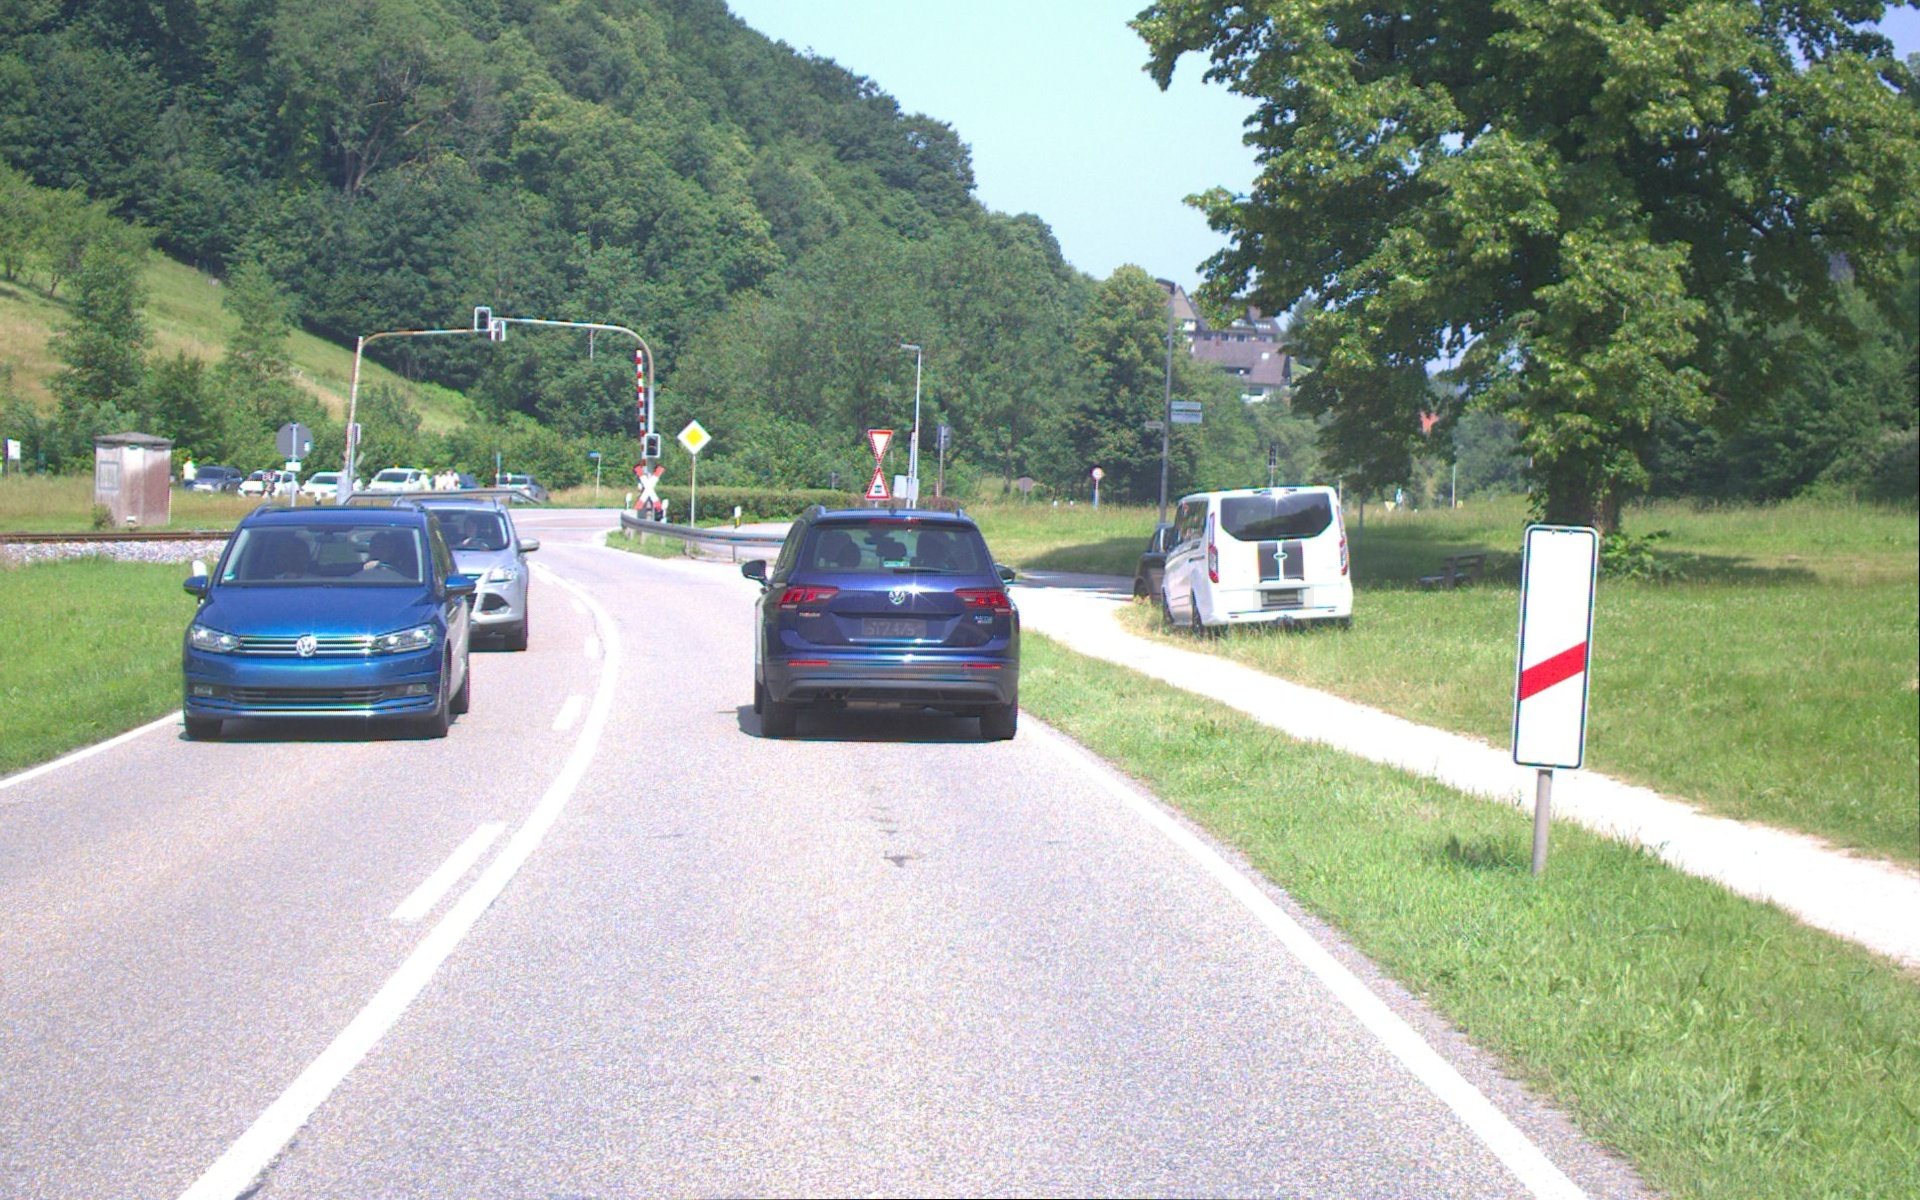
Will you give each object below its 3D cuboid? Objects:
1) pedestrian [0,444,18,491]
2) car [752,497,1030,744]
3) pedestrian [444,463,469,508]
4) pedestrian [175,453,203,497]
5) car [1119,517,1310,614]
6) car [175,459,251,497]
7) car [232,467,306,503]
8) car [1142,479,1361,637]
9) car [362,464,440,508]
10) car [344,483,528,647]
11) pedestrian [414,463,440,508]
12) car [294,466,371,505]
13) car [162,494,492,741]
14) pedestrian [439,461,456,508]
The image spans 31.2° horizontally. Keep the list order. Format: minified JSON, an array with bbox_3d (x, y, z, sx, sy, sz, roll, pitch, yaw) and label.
[{"bbox_3d":[-40.066,-5.530,143.456,1.127,1.962,0.861,1,2,21],"label":"pedestrian"},{"bbox_3d":[-0.579,0.081,25.334,1.852,1.643,4.141,1,2,-3],"label":"car"},{"bbox_3d":[-20.729,-4.709,141.450,0.648,1.852,0.769,2,2,39],"label":"pedestrian"},{"bbox_3d":[-31.818,-5.158,141.832,0.954,1.788,1.000,1,2,-3],"label":"pedestrian"},{"bbox_3d":[3.951,-0.548,53.914,1.673,1.452,3.717,-1,1,-18],"label":"car"},{"bbox_3d":[-32.182,-5.256,148.273,1.994,1.495,4.521,3,2,3],"label":"car"},{"bbox_3d":[-29.701,-4.948,147.841,1.994,1.495,4.521,1,2,4],"label":"car"},{"bbox_3d":[3.760,-0.602,45.192,1.999,1.842,4.870,-4,2,-4],"label":"car"},{"bbox_3d":[-24.119,-4.915,148.391,1.872,1.776,4.771,2,2,9],"label":"car"},{"bbox_3d":[-5.855,-0.440,38.718,1.915,1.708,4.161,1,2,-7],"label":"car"},{"bbox_3d":[-21.787,-4.670,140.564,0.788,1.836,0.698,1,2,17],"label":"pedestrian"},{"bbox_3d":[-26.999,-4.914,148.042,1.994,1.635,4.901,1,2,6],"label":"car"},{"bbox_3d":[-4.526,0.052,25.189,1.865,1.618,4.511,1,2,-4],"label":"car"},{"bbox_3d":[-20.976,-4.732,140.759,0.660,1.948,0.533,1,2,-4],"label":"pedestrian"}]
